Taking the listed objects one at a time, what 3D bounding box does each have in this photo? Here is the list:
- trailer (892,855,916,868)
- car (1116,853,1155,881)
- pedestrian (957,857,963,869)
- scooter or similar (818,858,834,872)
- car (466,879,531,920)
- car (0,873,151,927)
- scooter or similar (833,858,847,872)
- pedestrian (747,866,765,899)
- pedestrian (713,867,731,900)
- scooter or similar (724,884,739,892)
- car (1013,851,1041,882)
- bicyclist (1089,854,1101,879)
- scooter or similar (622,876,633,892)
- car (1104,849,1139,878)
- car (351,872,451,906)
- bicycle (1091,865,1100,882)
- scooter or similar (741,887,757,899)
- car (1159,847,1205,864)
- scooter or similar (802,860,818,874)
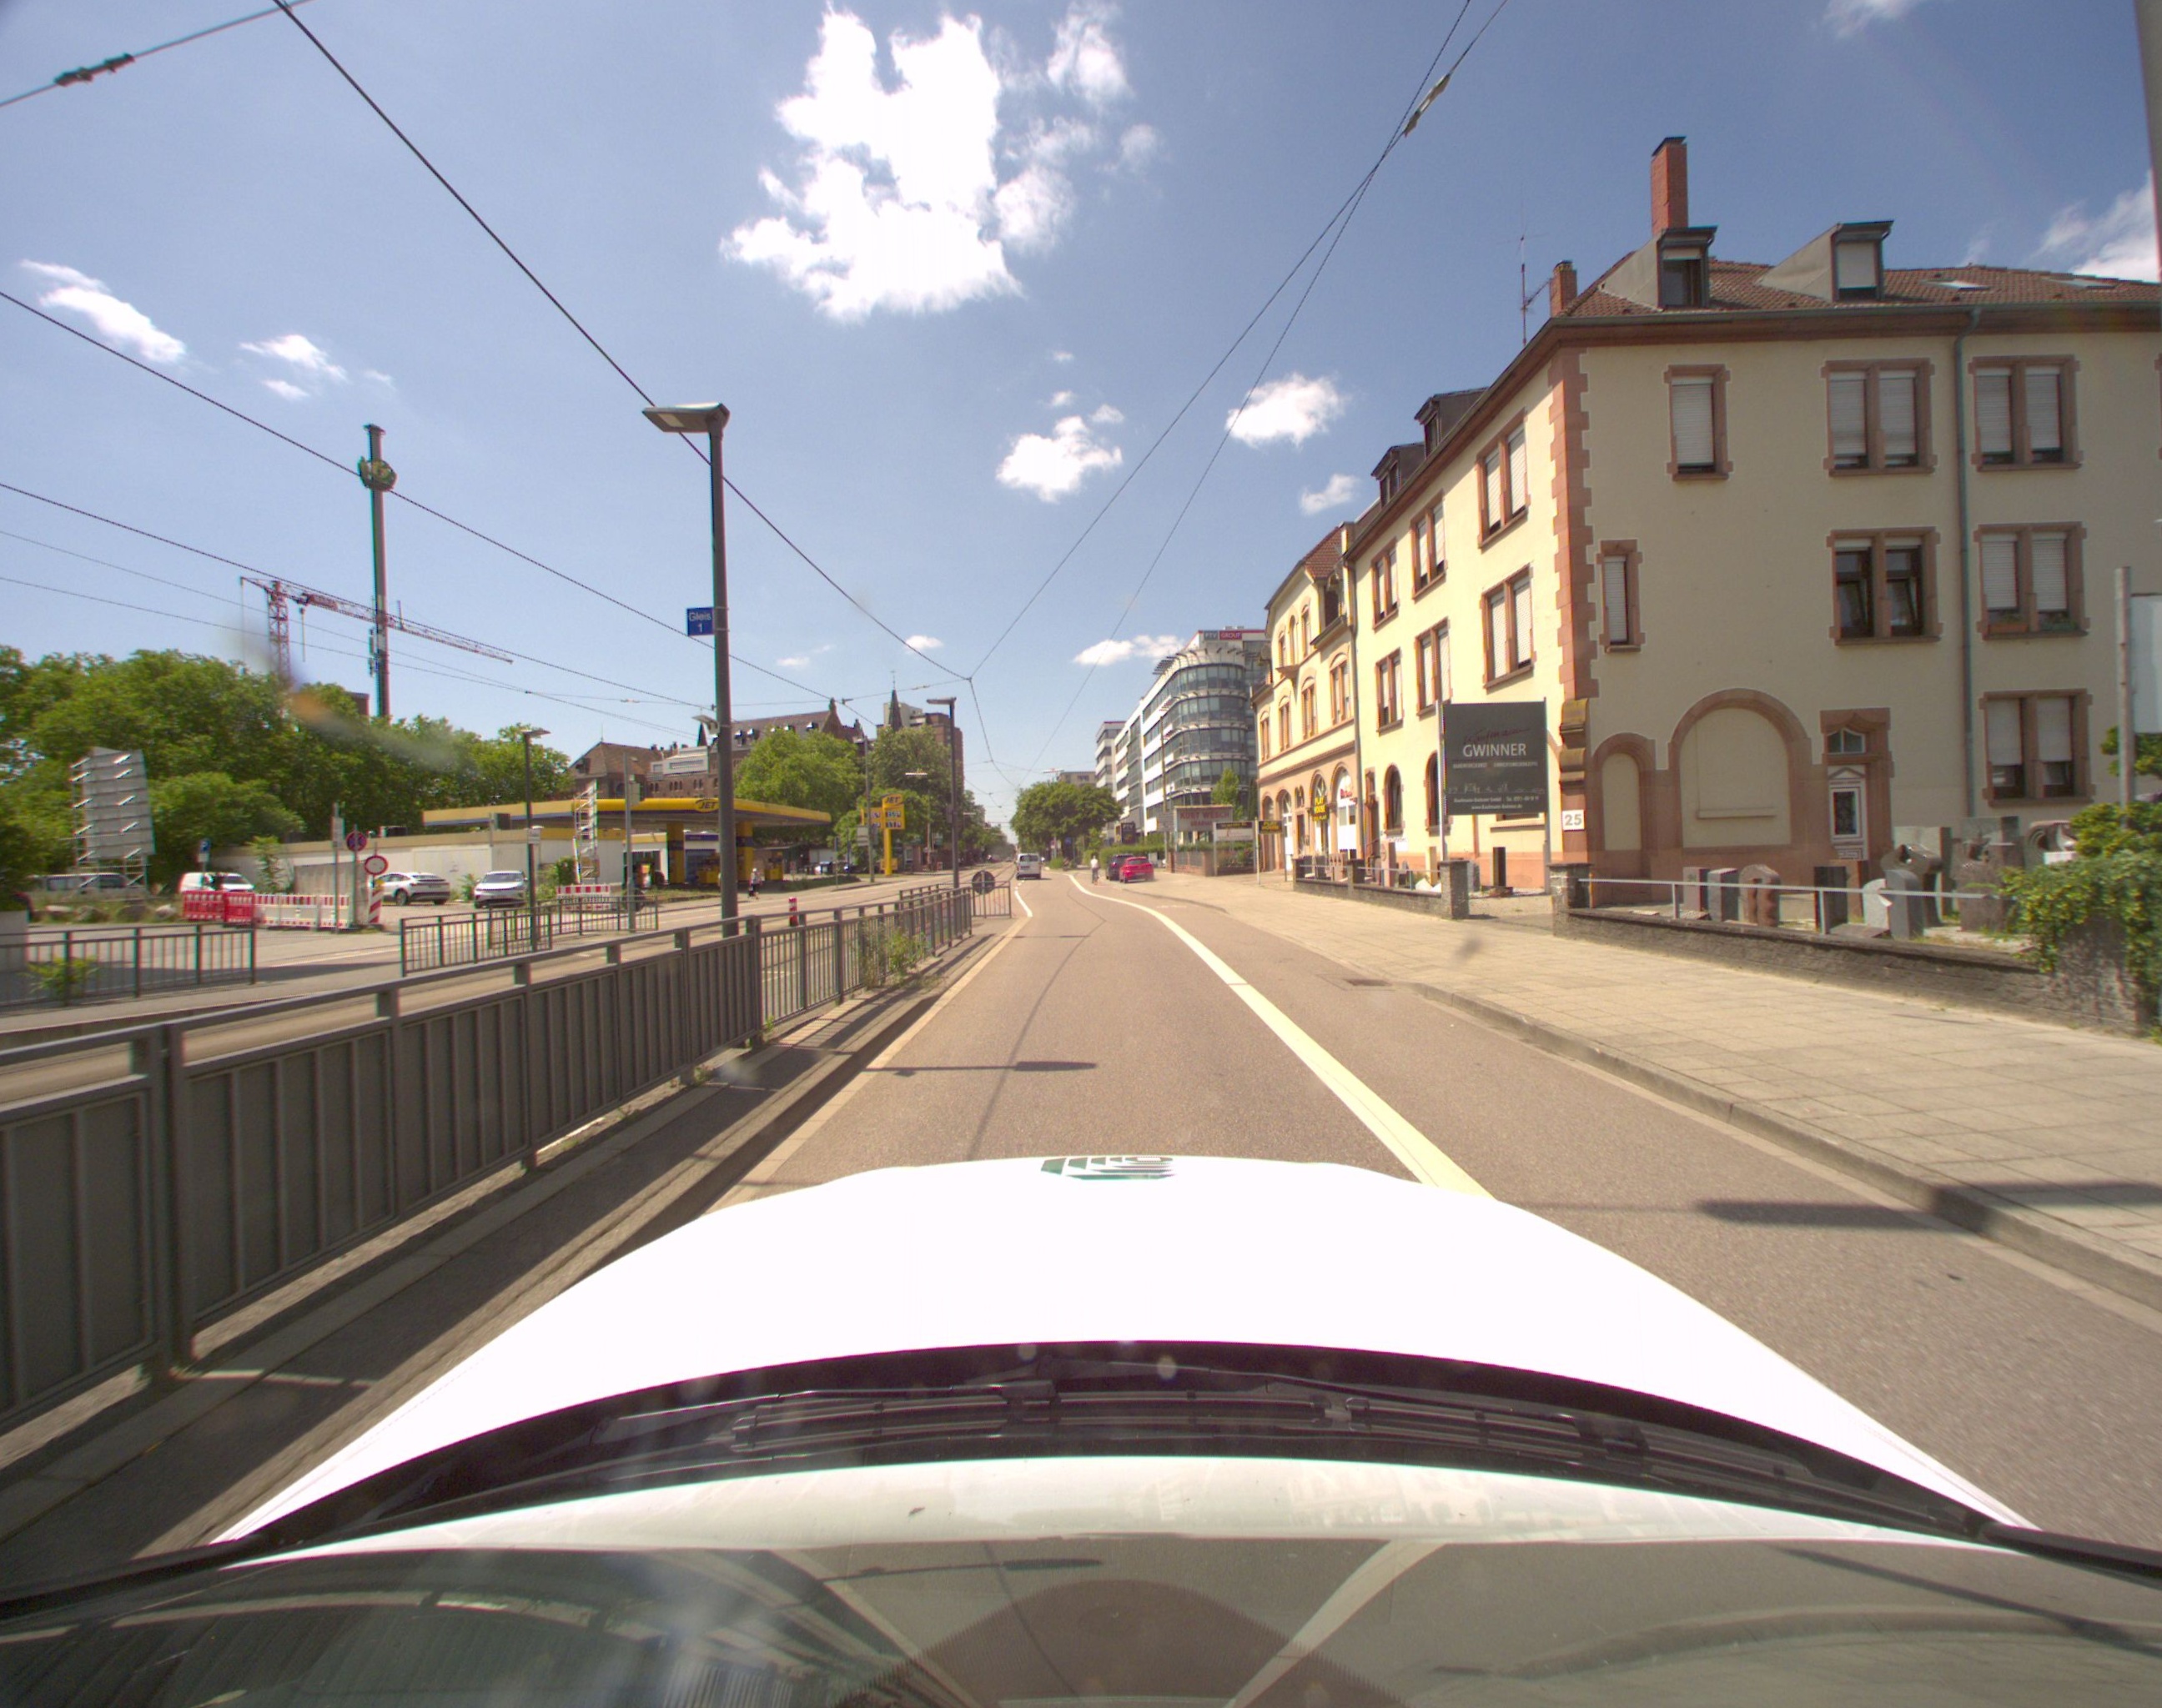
[{"bbox_3d":[-21.574,0.949,99.351,2.722,1.526,1.328,-1,-1,-4],"label":"trailer"},{"bbox_3d":[3.133,0.740,47.487,1.709,1.452,4.067,-4,0,-4],"label":"car"},{"bbox_3d":[-21.188,1.609,142.674,0.863,2.013,0.645,-4,-1,-7],"label":"pedestrian"},{"bbox_3d":[-27.617,1.221,88.230,1.307,1.466,1.061,-2,-1,7],"label":"scooter or similar"},{"bbox_3d":[-25.957,2.033,36.231,2.068,1.567,3.953,-3,-1,-39],"label":"car"},{"bbox_3d":[-43.035,1.913,34.981,1.974,2.013,4.025,-2,0,41],"label":"car"},{"bbox_3d":[-25.989,1.231,87.793,1.168,1.466,1.059,-2,-1,1],"label":"scooter or similar"},{"bbox_3d":[-16.785,1.457,42.119,0.578,1.671,0.668,-2,0,4],"label":"pedestrian"},{"bbox_3d":[-18.612,1.529,42.201,0.550,1.658,0.673,-2,0,3],"label":"pedestrian"},{"bbox_3d":[-18.430,1.780,42.922,0.471,0.394,0.673,-2,0,3],"label":"scooter or similar"},{"bbox_3d":[-3.898,0.843,58.164,1.750,2.013,3.992,-3,1,-6],"label":"car"},{"bbox_3d":[0.794,0.709,46.272,0.589,1.397,0.842,-2,0,1],"label":"bicyclist"},{"bbox_3d":[-26.073,1.716,46.812,0.404,0.930,0.327,-2,0,-2],"label":"scooter or similar"},{"bbox_3d":[2.615,0.585,53.537,1.858,1.687,4.997,-3,0,-1],"label":"car"},{"bbox_3d":[-32.681,1.688,39.160,3.971,1.463,1.767,-2,0,17],"label":"car"},{"bbox_3d":[0.815,1.123,46.297,0.464,0.887,2.048,-2,0,1],"label":"bicycle"},{"bbox_3d":[-17.362,2.064,42.601,0.473,0.581,0.632,-2,0,7],"label":"scooter or similar"},{"bbox_3d":[8.839,0.107,71.526,3.791,1.275,1.554,-3,0,-4],"label":"car"},{"bbox_3d":[-29.619,1.416,88.972,1.306,1.466,1.061,-2,0,7],"label":"scooter or similar"}]
